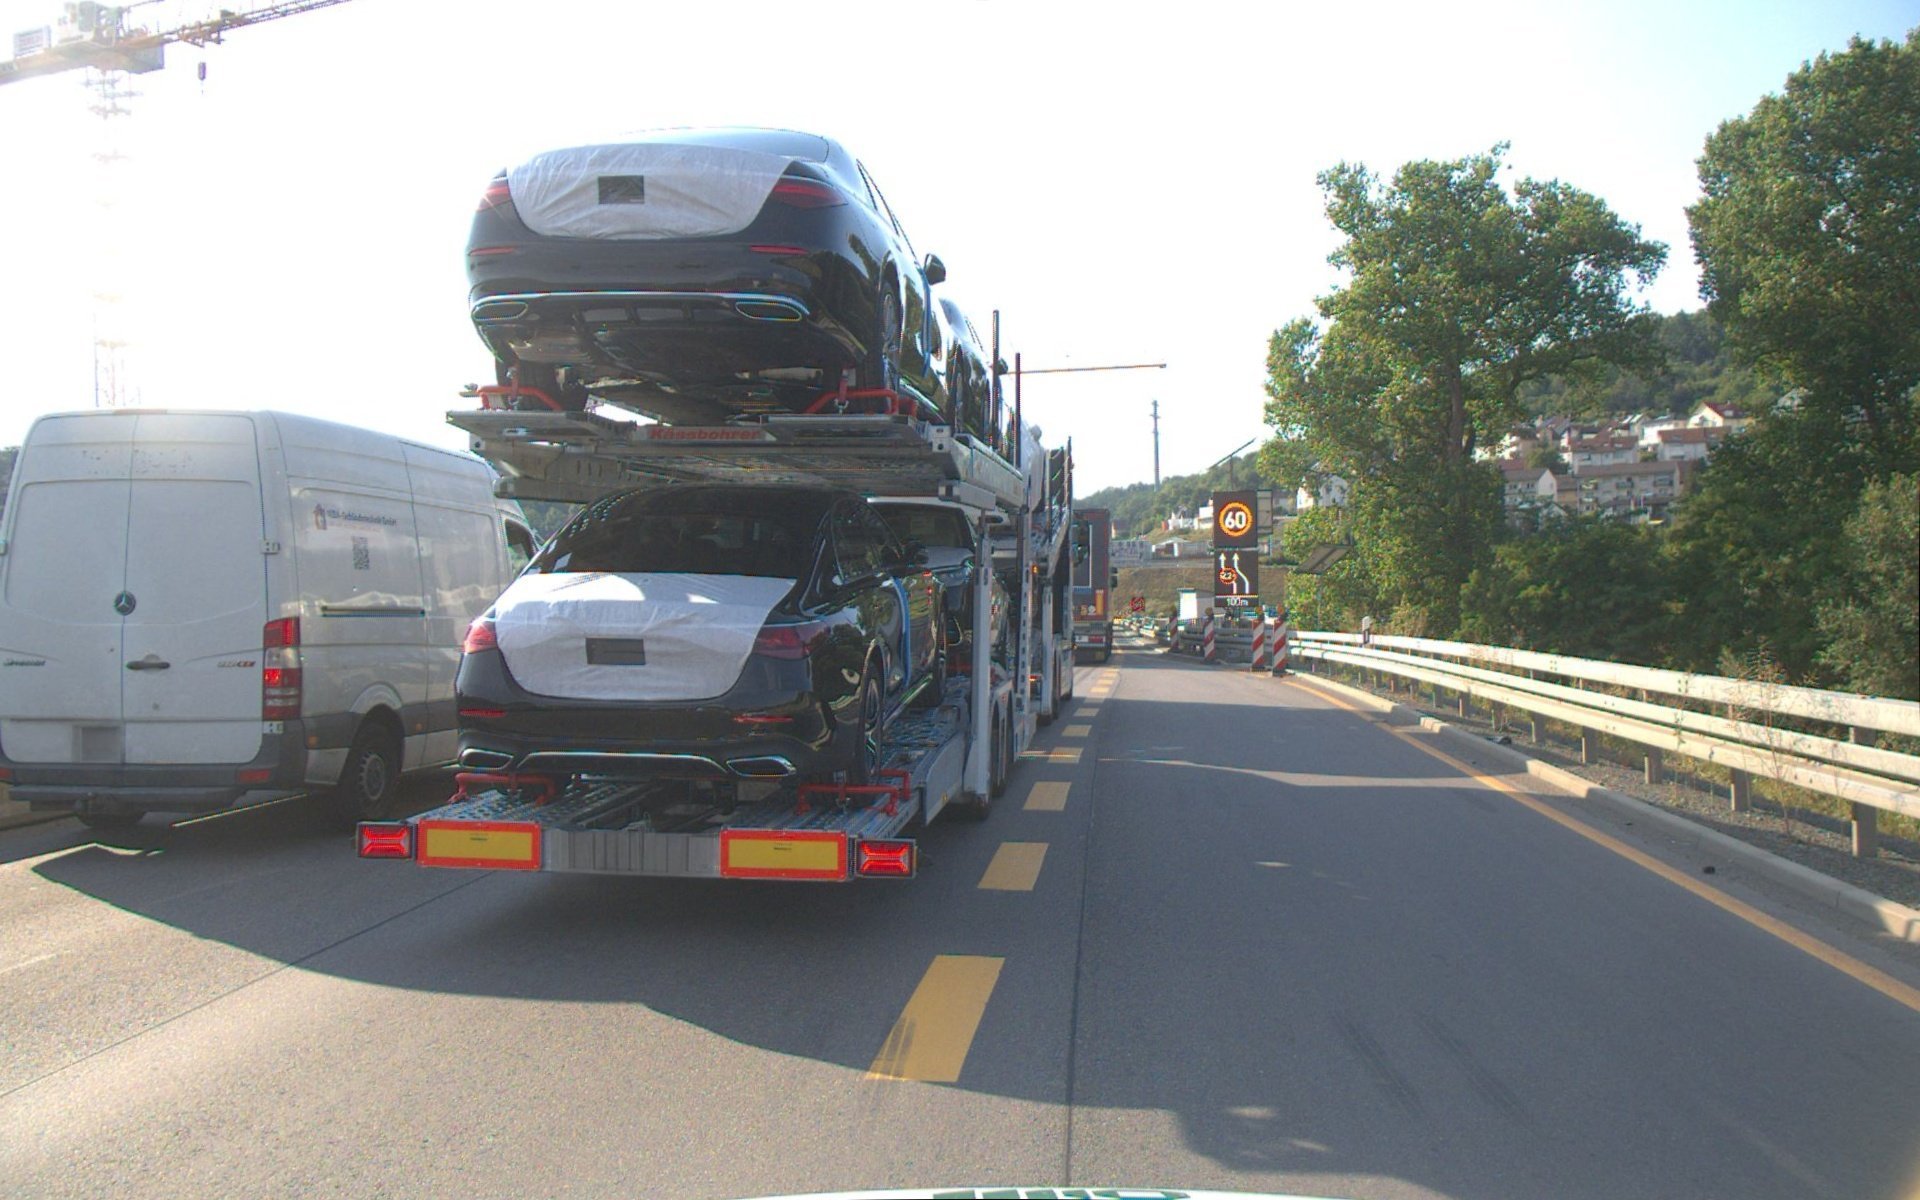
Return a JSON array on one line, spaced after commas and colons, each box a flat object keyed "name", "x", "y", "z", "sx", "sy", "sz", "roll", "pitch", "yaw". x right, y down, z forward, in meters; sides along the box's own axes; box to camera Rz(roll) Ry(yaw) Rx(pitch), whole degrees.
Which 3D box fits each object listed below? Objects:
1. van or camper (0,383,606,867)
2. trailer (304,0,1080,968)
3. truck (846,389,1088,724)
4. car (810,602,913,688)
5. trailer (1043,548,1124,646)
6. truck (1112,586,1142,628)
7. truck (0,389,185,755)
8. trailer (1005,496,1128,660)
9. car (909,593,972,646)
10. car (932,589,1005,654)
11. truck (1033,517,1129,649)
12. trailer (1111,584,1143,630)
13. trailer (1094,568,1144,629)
[{"name": "van or camper", "x": -4.510, "y": 0.144, "z": 12.157, "sx": 1.951, "sy": 2.666, "sz": 5.908, "roll": -1, "pitch": 0, "yaw": 6}, {"name": "trailer", "x": -0.560, "y": -0.525, "z": 14.620, "sx": 2.796, "sy": 4.066, "sz": 15.756, "roll": -1, "pitch": 0, "yaw": 6}, {"name": "truck", "x": 0.335, "y": -0.526, "z": 23.648, "sx": 2.788, "sy": 4.066, "sz": 6.629, "roll": -1, "pitch": 0, "yaw": 5}, {"name": "car", "x": -2.175, "y": 0.973, "z": 37.615, "sx": 1.792, "sy": 1.783, "sz": 4.002, "roll": -2, "pitch": 0, "yaw": 4}, {"name": "trailer", "x": 5.865, "y": -0.115, "z": 76.657, "sx": 3.313, "sy": 4.066, "sz": 14.754, "roll": -1, "pitch": 0, "yaw": 6}, {"name": "truck", "x": 17.670, "y": 0.716, "z": 175.133, "sx": 3.032, "sy": 4.360, "sz": 6.629, "roll": -1, "pitch": 0, "yaw": 5}, {"name": "truck", "x": -10.475, "y": -0.242, "z": 15.739, "sx": 2.835, "sy": 3.456, "sz": 5.956, "roll": -1, "pitch": 0, "yaw": 7}, {"name": "trailer", "x": 3.296, "y": -0.553, "z": 48.311, "sx": 2.896, "sy": 4.163, "sz": 10.801, "roll": -2, "pitch": 0, "yaw": 7}, {"name": "car", "x": -0.622, "y": 0.663, "z": 56.737, "sx": 1.792, "sy": 1.683, "sz": 4.002, "roll": -2, "pitch": 0, "yaw": 4}, {"name": "car", "x": 0.287, "y": 0.577, "z": 46.828, "sx": 1.792, "sy": 1.683, "sz": 4.002, "roll": -2, "pitch": 0, "yaw": 4}, {"name": "truck", "x": 4.093, "y": -0.530, "z": 54.771, "sx": 2.823, "sy": 4.066, "sz": 6.629, "roll": -1, "pitch": 0, "yaw": 7}, {"name": "trailer", "x": 16.918, "y": 0.656, "z": 167.532, "sx": 3.038, "sy": 4.389, "sz": 14.261, "roll": -1, "pitch": 0, "yaw": 6}, {"name": "trailer", "x": 11.519, "y": -0.096, "z": 119.562, "sx": 3.313, "sy": 4.066, "sz": 14.754, "roll": -1, "pitch": 0, "yaw": 6}]
